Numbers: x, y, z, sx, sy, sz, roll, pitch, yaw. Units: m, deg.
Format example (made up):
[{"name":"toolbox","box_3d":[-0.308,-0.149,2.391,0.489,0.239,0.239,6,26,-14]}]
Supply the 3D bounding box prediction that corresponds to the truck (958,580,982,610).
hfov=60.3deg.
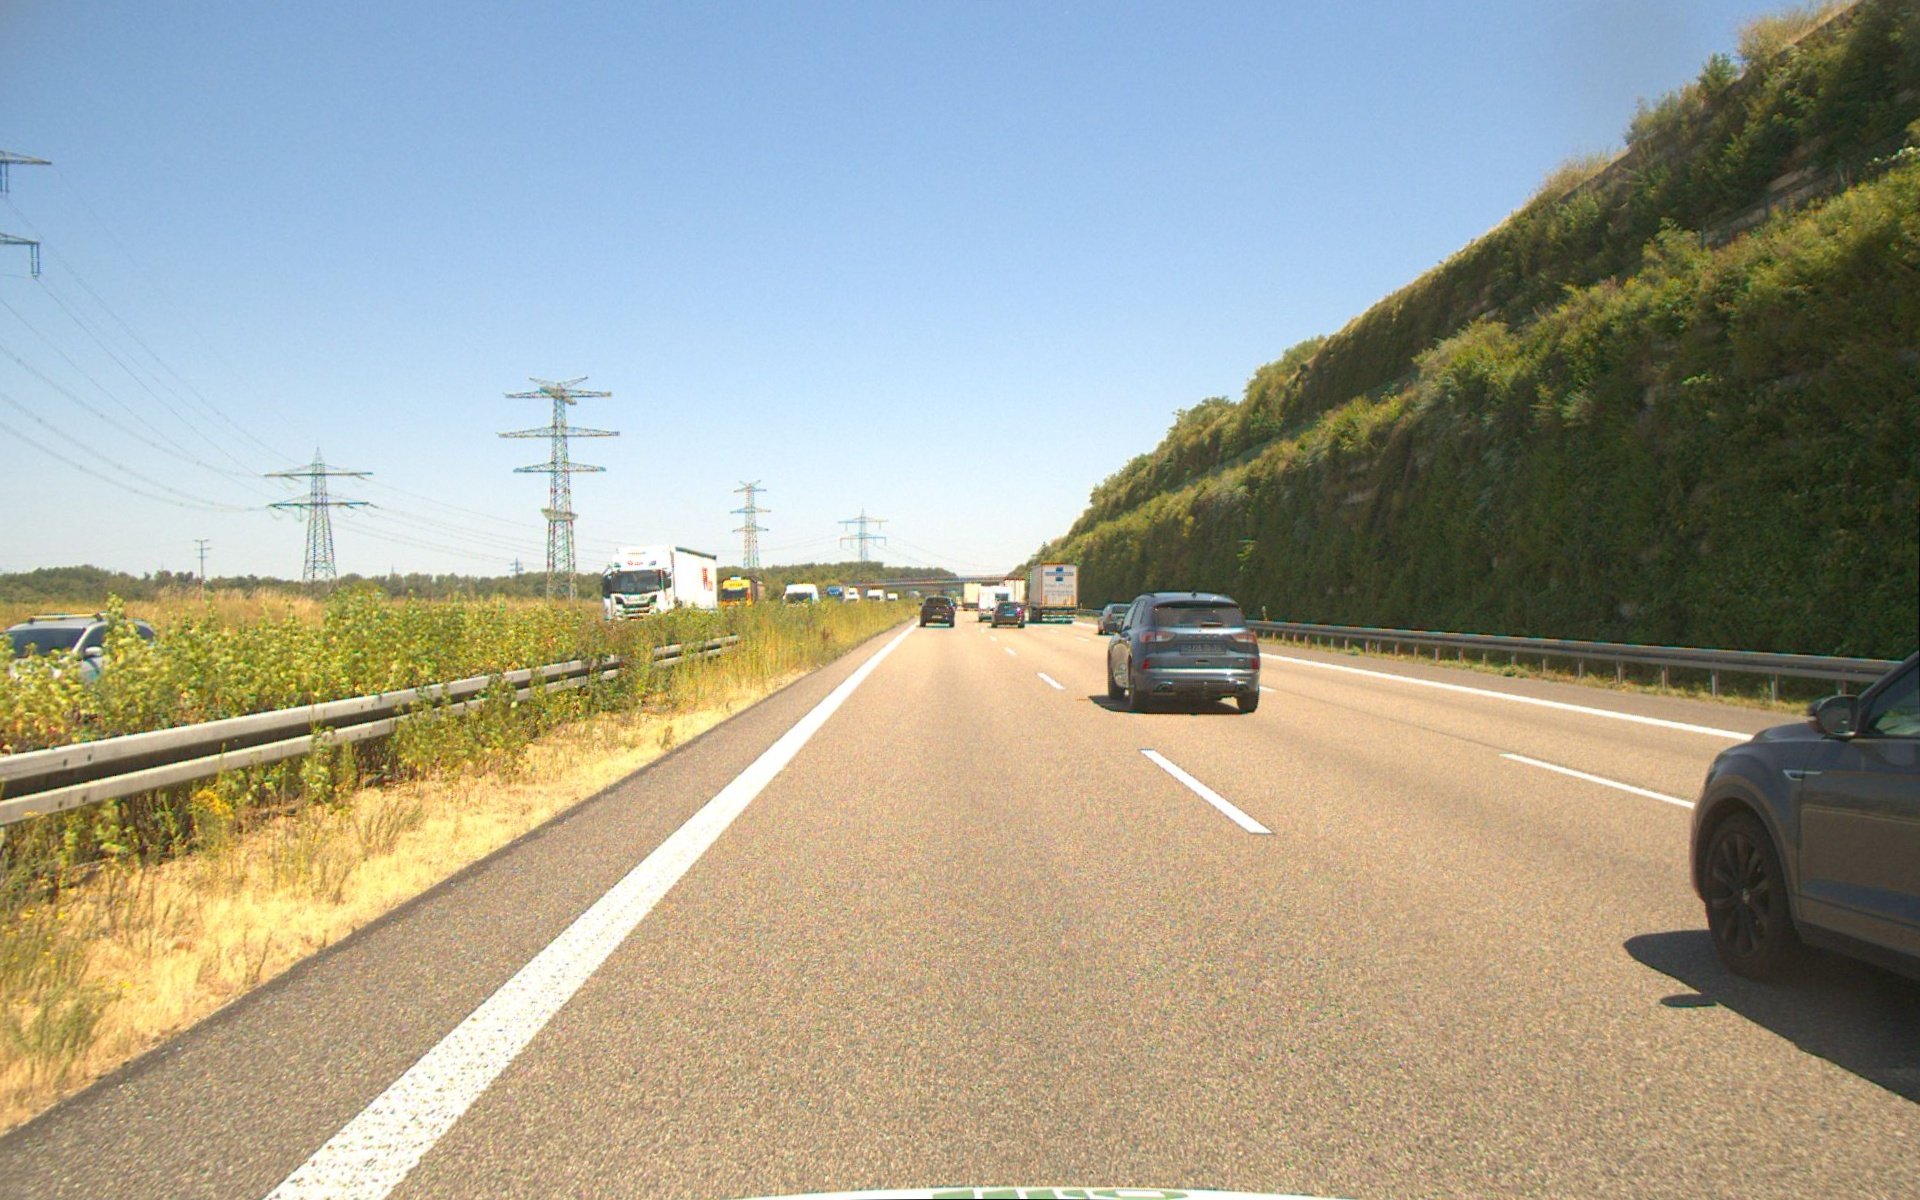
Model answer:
[{"name":"truck","box_3d":[1.501,-0.781,248.333,3.340,4.355,10.606,-1,0,0]}]

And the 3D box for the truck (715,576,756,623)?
[{"name":"truck","box_3d":[-18.761,-0.051,138.325,2.669,3.793,5.645,-1,0,-1]}]

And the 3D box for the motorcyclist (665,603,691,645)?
[{"name":"motorcyclist","box_3d":[-9.430,0.786,55.286,0.693,1.370,1.013,-1,0,-2]}]

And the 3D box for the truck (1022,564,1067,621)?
[{"name":"truck","box_3d":[6.457,-0.559,126.773,3.072,4.214,5.503,-1,0,-1]}]

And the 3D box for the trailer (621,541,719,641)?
[{"name":"trailer","box_3d":[-13.951,-0.395,80.701,2.713,4.426,14.234,0,0,-2]}]

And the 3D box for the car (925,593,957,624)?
[{"name":"car","box_3d":[-1.111,0.483,94.674,1.793,1.700,3.999,-1,0,-1]}]

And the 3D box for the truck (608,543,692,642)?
[{"name":"truck","box_3d":[-13.784,-0.306,73.922,2.748,4.231,5.569,0,0,-1]}]

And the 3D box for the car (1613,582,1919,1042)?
[{"name":"car","box_3d":[4.078,0.711,6.072,1.714,1.552,3.994,0,0,-1]}]

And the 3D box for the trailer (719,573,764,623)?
[{"name":"trailer","box_3d":[-18.780,-0.147,142.785,2.681,4.116,9.422,-1,0,-1]}]

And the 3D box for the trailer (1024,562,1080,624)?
[{"name":"trailer","box_3d":[6.551,-0.508,119.786,3.118,4.193,13.429,-1,0,-1]}]

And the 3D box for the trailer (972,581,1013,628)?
[{"name":"trailer","box_3d":[2.311,0.293,121.665,2.558,3.269,9.950,-1,0,-1]}]

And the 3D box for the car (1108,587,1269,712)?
[{"name":"car","box_3d":[3.262,0.661,24.359,1.757,1.682,4.137,0,0,-1]}]

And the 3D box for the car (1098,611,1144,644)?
[{"name":"car","box_3d":[7.508,1.258,77.455,1.650,1.453,4.452,0,0,-1]}]

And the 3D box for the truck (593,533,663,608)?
[{"name":"truck","box_3d":[-17.902,-1.526,89.580,2.719,3.920,5.569,0,0,-1]}]

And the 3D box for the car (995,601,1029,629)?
[{"name":"car","box_3d":[2.955,0.845,94.467,1.792,1.552,4.000,-1,0,0]}]

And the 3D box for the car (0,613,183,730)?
[{"name":"car","box_3d":[-13.034,0.968,23.866,1.775,1.506,3.999,-1,0,-1]}]

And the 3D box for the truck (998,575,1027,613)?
[{"name":"truck","box_3d":[6.205,-0.658,197.264,3.055,4.355,11.932,-1,0,0]}]

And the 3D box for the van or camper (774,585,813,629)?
[{"name":"van or camper","box_3d":[-10.351,0.449,103.101,1.953,2.627,6.283,-1,0,-2]}]
